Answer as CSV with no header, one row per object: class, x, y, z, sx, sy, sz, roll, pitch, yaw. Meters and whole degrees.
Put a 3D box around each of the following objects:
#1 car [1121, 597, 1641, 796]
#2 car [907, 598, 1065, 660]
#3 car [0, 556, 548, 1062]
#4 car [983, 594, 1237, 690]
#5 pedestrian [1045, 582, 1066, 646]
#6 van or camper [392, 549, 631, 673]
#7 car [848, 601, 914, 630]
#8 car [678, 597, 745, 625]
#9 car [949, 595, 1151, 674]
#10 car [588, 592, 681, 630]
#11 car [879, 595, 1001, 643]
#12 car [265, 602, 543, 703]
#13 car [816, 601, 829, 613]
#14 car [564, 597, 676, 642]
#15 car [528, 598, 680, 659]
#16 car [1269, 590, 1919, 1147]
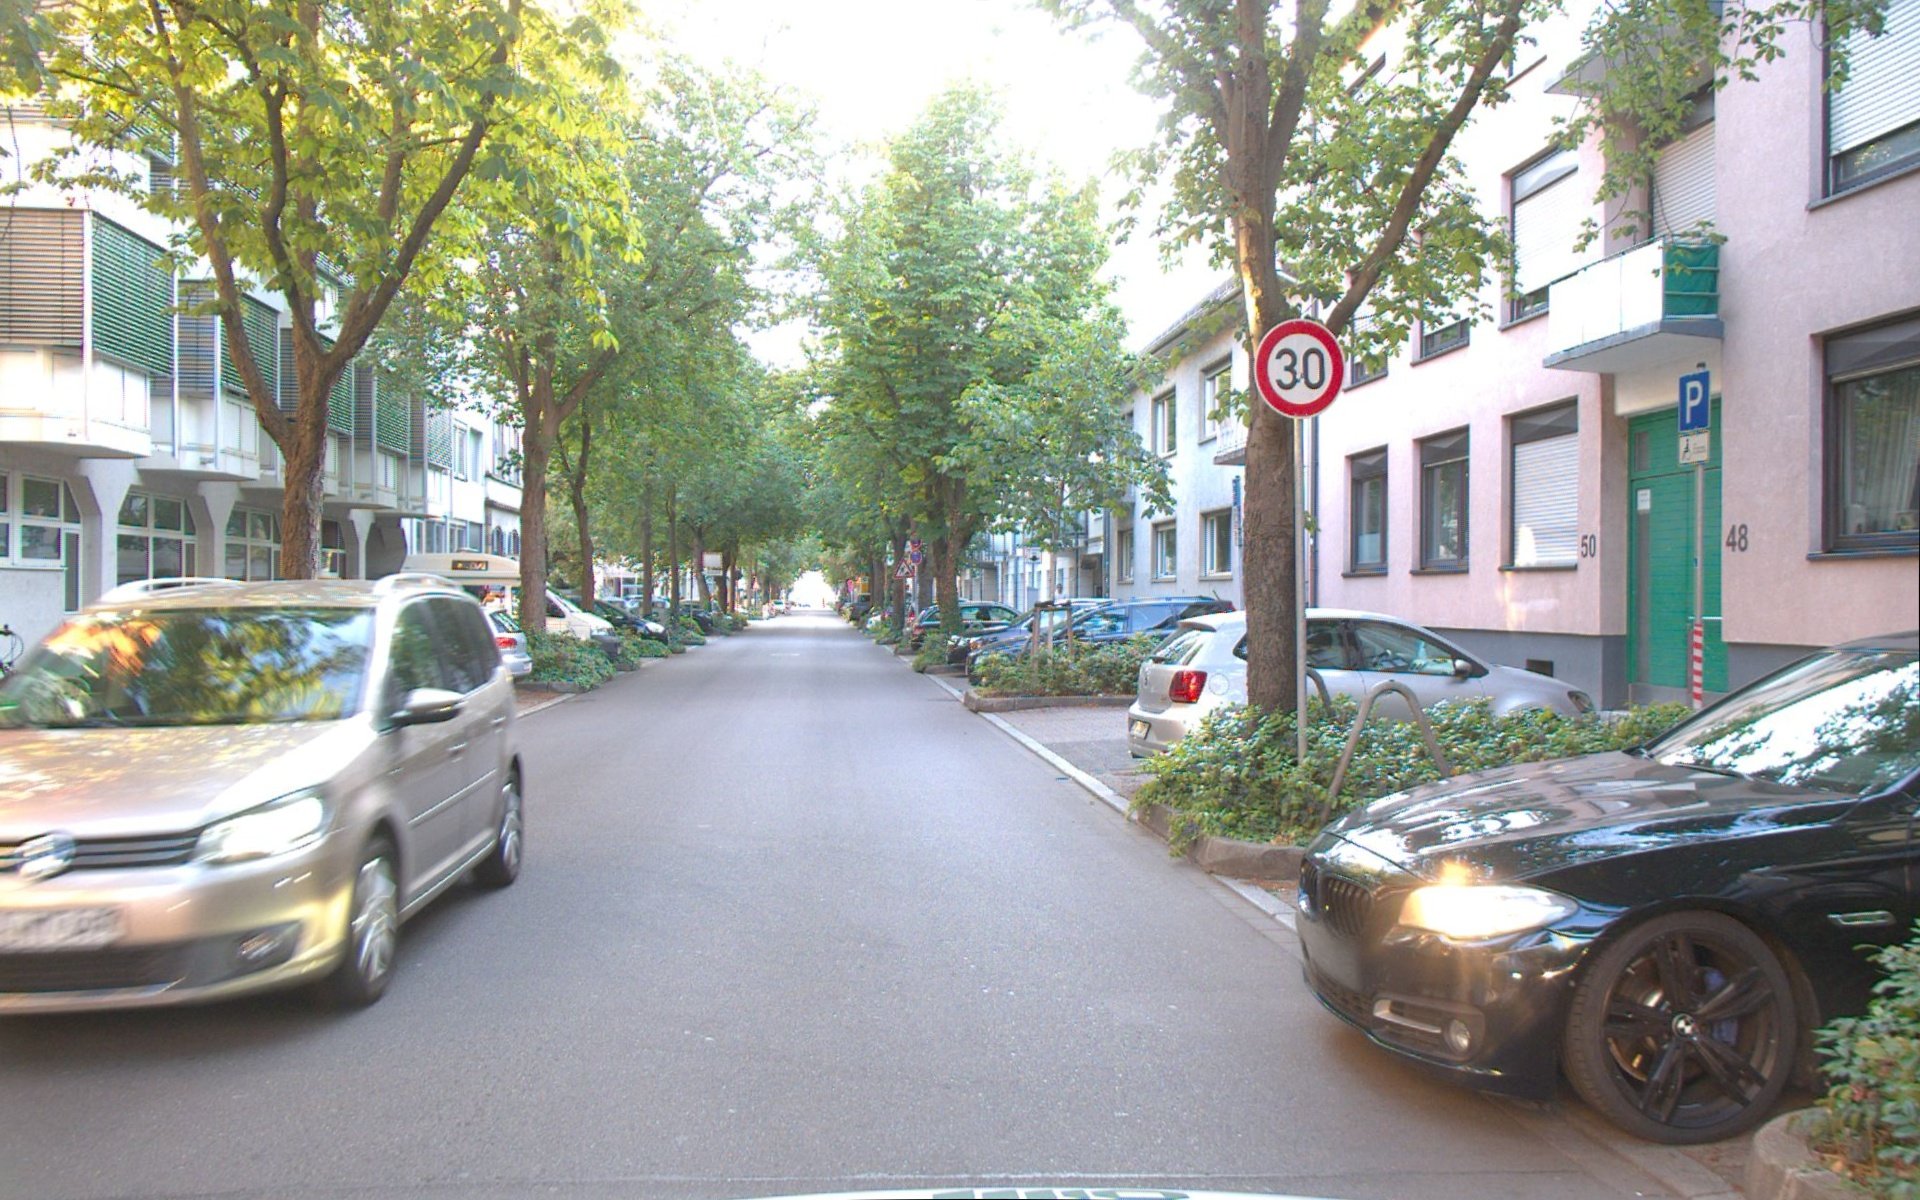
car,3.383,0.732,13.656,3.834,1.502,1.662,0,0,-7
car,0.643,0.733,42.610,3.891,1.554,1.783,0,0,-6
car,-3.069,0.654,7.287,1.744,1.589,4.164,0,0,-4
car,2.421,0.666,27.274,3.892,1.502,1.782,0,0,-7
pedestrian,3.101,0.443,53.706,0.577,2.049,0.669,0,0,-4
van or camper,-9.382,0.213,34.901,4.573,2.521,1.998,0,0,-5
car,-4.745,0.919,98.555,3.889,1.713,1.784,0,0,-4
car,-14.991,0.669,99.851,3.889,1.647,1.784,0,0,-4
car,1.799,0.684,33.774,3.891,1.554,1.783,0,0,-6
car,-14.535,0.477,74.068,3.889,1.647,1.784,0,0,-4
car,-0.679,0.615,54.508,3.892,1.554,1.782,0,0,-7
car,-8.851,0.808,26.570,3.890,1.544,1.783,0,0,-4
car,-19.742,1.014,237.393,1.787,1.557,3.996,1,0,-4
car,-12.801,0.723,62.435,3.889,1.647,1.784,0,0,-4
car,-9.833,0.772,45.902,3.890,1.647,1.783,0,0,-4
car,3.560,0.721,5.588,4.652,1.506,1.798,0,0,-5
